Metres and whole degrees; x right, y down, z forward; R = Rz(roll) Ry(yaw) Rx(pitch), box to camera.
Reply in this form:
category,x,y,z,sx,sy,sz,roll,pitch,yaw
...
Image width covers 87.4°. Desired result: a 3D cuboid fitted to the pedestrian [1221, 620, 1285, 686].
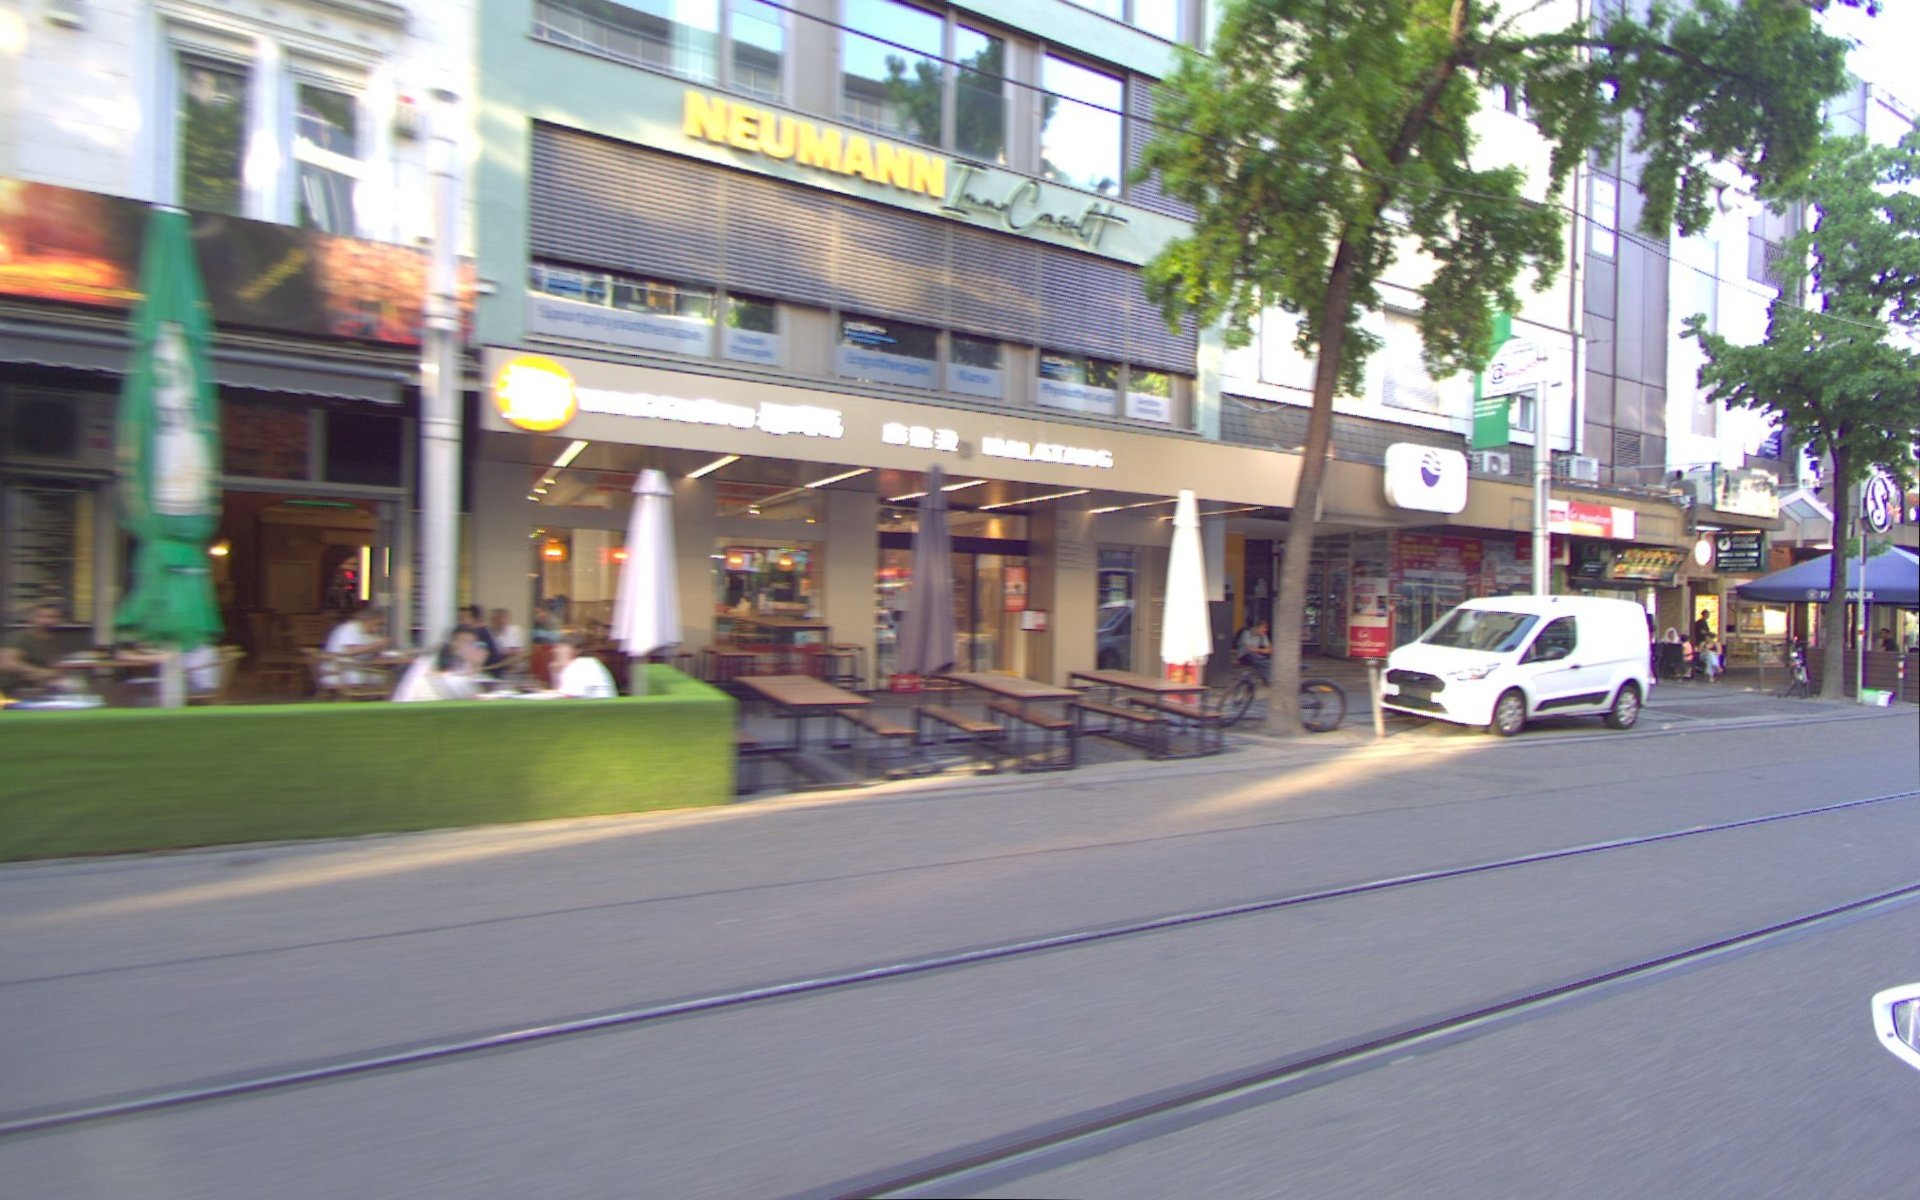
category,x,y,z,sx,sy,sz,roll,pitch,yaw
pedestrian,5.331,0.956,18.273,0.720,1.109,0.774,2,2,-29

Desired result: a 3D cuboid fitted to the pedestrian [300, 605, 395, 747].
category,x,y,z,sx,sy,sz,roll,pitch,yaw
pedestrian,-6.351,0.766,10.457,0.756,1.396,0.687,2,0,-28

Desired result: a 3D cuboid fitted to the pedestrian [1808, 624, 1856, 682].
category,x,y,z,sx,sy,sz,roll,pitch,yaw
pedestrian,20.368,1.231,23.468,0.553,1.273,0.601,2,2,-27

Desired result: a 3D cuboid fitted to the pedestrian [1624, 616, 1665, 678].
category,x,y,z,sx,sy,sz,roll,pitch,yaw
pedestrian,16.032,1.094,23.529,0.596,1.391,0.442,2,2,-19

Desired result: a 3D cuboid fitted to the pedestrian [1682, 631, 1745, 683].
category,x,y,z,sx,sy,sz,roll,pitch,yaw
pedestrian,17.722,1.340,23.637,0.766,1.135,0.820,2,2,-19

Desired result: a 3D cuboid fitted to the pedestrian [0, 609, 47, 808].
category,x,y,z,sx,sy,sz,roll,pitch,yaw
pedestrian,-6.652,0.703,6.736,0.592,1.281,0.705,2,0,-28

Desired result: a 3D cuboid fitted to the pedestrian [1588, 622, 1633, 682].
category,x,y,z,sx,sy,sz,roll,pitch,yaw
pedestrian,14.182,1.135,21.895,0.653,1.259,0.509,2,3,-29

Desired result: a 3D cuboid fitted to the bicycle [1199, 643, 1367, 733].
category,x,y,z,sx,sy,sz,roll,pitch,yaw
bicycle,4.194,1.133,13.110,1.979,1.082,0.613,1,0,0

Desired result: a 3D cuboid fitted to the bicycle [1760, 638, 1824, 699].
category,x,y,z,sx,sy,sz,roll,pitch,yaw
bicycle,17.190,1.385,20.797,0.800,1.118,2.159,1,0,35

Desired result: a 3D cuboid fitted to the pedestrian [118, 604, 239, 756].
category,x,y,z,sx,sy,sz,roll,pitch,yaw
pedestrian,-7.308,0.728,9.430,0.756,1.348,0.651,2,0,-28

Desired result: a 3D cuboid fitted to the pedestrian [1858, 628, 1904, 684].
category,x,y,z,sx,sy,sz,roll,pitch,yaw
pedestrian,21.682,1.314,23.651,0.598,1.273,0.556,2,3,-28

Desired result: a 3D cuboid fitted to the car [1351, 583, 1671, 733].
category,x,y,z,sx,sy,sz,roll,pitch,yaw
car,7.920,0.796,14.368,4.459,1.842,1.787,2,1,-28

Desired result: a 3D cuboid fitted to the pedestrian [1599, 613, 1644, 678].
category,x,y,z,sx,sy,sz,roll,pitch,yaw
pedestrian,15.296,1.047,23.220,0.505,1.453,0.607,2,2,-26

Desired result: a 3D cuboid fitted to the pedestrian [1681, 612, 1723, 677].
category,x,y,z,sx,sy,sz,roll,pitch,yaw
pedestrian,18.928,1.133,25.637,0.553,1.618,0.601,2,2,-27

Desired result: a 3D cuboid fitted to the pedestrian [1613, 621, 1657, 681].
category,x,y,z,sx,sy,sz,roll,pitch,yaw
pedestrian,15.018,1.136,22.355,0.580,1.273,0.519,2,3,-29

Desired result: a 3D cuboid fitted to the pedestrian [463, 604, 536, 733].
category,x,y,z,sx,sy,sz,roll,pitch,yaw
pedestrian,-5.211,0.759,11.361,0.671,1.396,0.535,2,0,-29

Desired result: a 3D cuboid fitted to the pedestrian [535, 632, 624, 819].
category,x,y,z,sx,sy,sz,roll,pitch,yaw
pedestrian,-3.047,0.972,8.029,0.558,1.396,0.577,2,0,-28

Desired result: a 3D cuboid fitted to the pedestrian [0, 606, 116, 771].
category,x,y,z,sx,sy,sz,roll,pitch,yaw
pedestrian,-8.118,0.767,8.947,0.756,1.396,0.651,2,0,-28

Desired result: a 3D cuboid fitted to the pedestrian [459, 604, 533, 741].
category,x,y,z,sx,sy,sz,roll,pitch,yaw
pedestrian,-4.935,0.753,10.670,0.640,1.396,0.602,2,0,-28

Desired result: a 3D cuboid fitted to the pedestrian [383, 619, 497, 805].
category,x,y,z,sx,sy,sz,roll,pitch,yaw
pedestrian,-4.068,0.847,7.887,0.722,1.364,0.641,2,0,-28

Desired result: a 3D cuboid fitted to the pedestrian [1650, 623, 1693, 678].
category,x,y,z,sx,sy,sz,roll,pitch,yaw
pedestrian,17.237,1.225,24.343,0.597,1.274,0.557,2,2,-25

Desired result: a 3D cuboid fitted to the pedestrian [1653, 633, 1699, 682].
category,x,y,z,sx,sy,sz,roll,pitch,yaw
pedestrian,16.548,1.324,23.228,0.649,1.043,0.454,3,2,1

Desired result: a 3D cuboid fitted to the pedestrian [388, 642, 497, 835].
category,x,y,z,sx,sy,sz,roll,pitch,yaw
pedestrian,-3.706,0.961,7.210,0.633,1.283,0.549,2,0,-28
